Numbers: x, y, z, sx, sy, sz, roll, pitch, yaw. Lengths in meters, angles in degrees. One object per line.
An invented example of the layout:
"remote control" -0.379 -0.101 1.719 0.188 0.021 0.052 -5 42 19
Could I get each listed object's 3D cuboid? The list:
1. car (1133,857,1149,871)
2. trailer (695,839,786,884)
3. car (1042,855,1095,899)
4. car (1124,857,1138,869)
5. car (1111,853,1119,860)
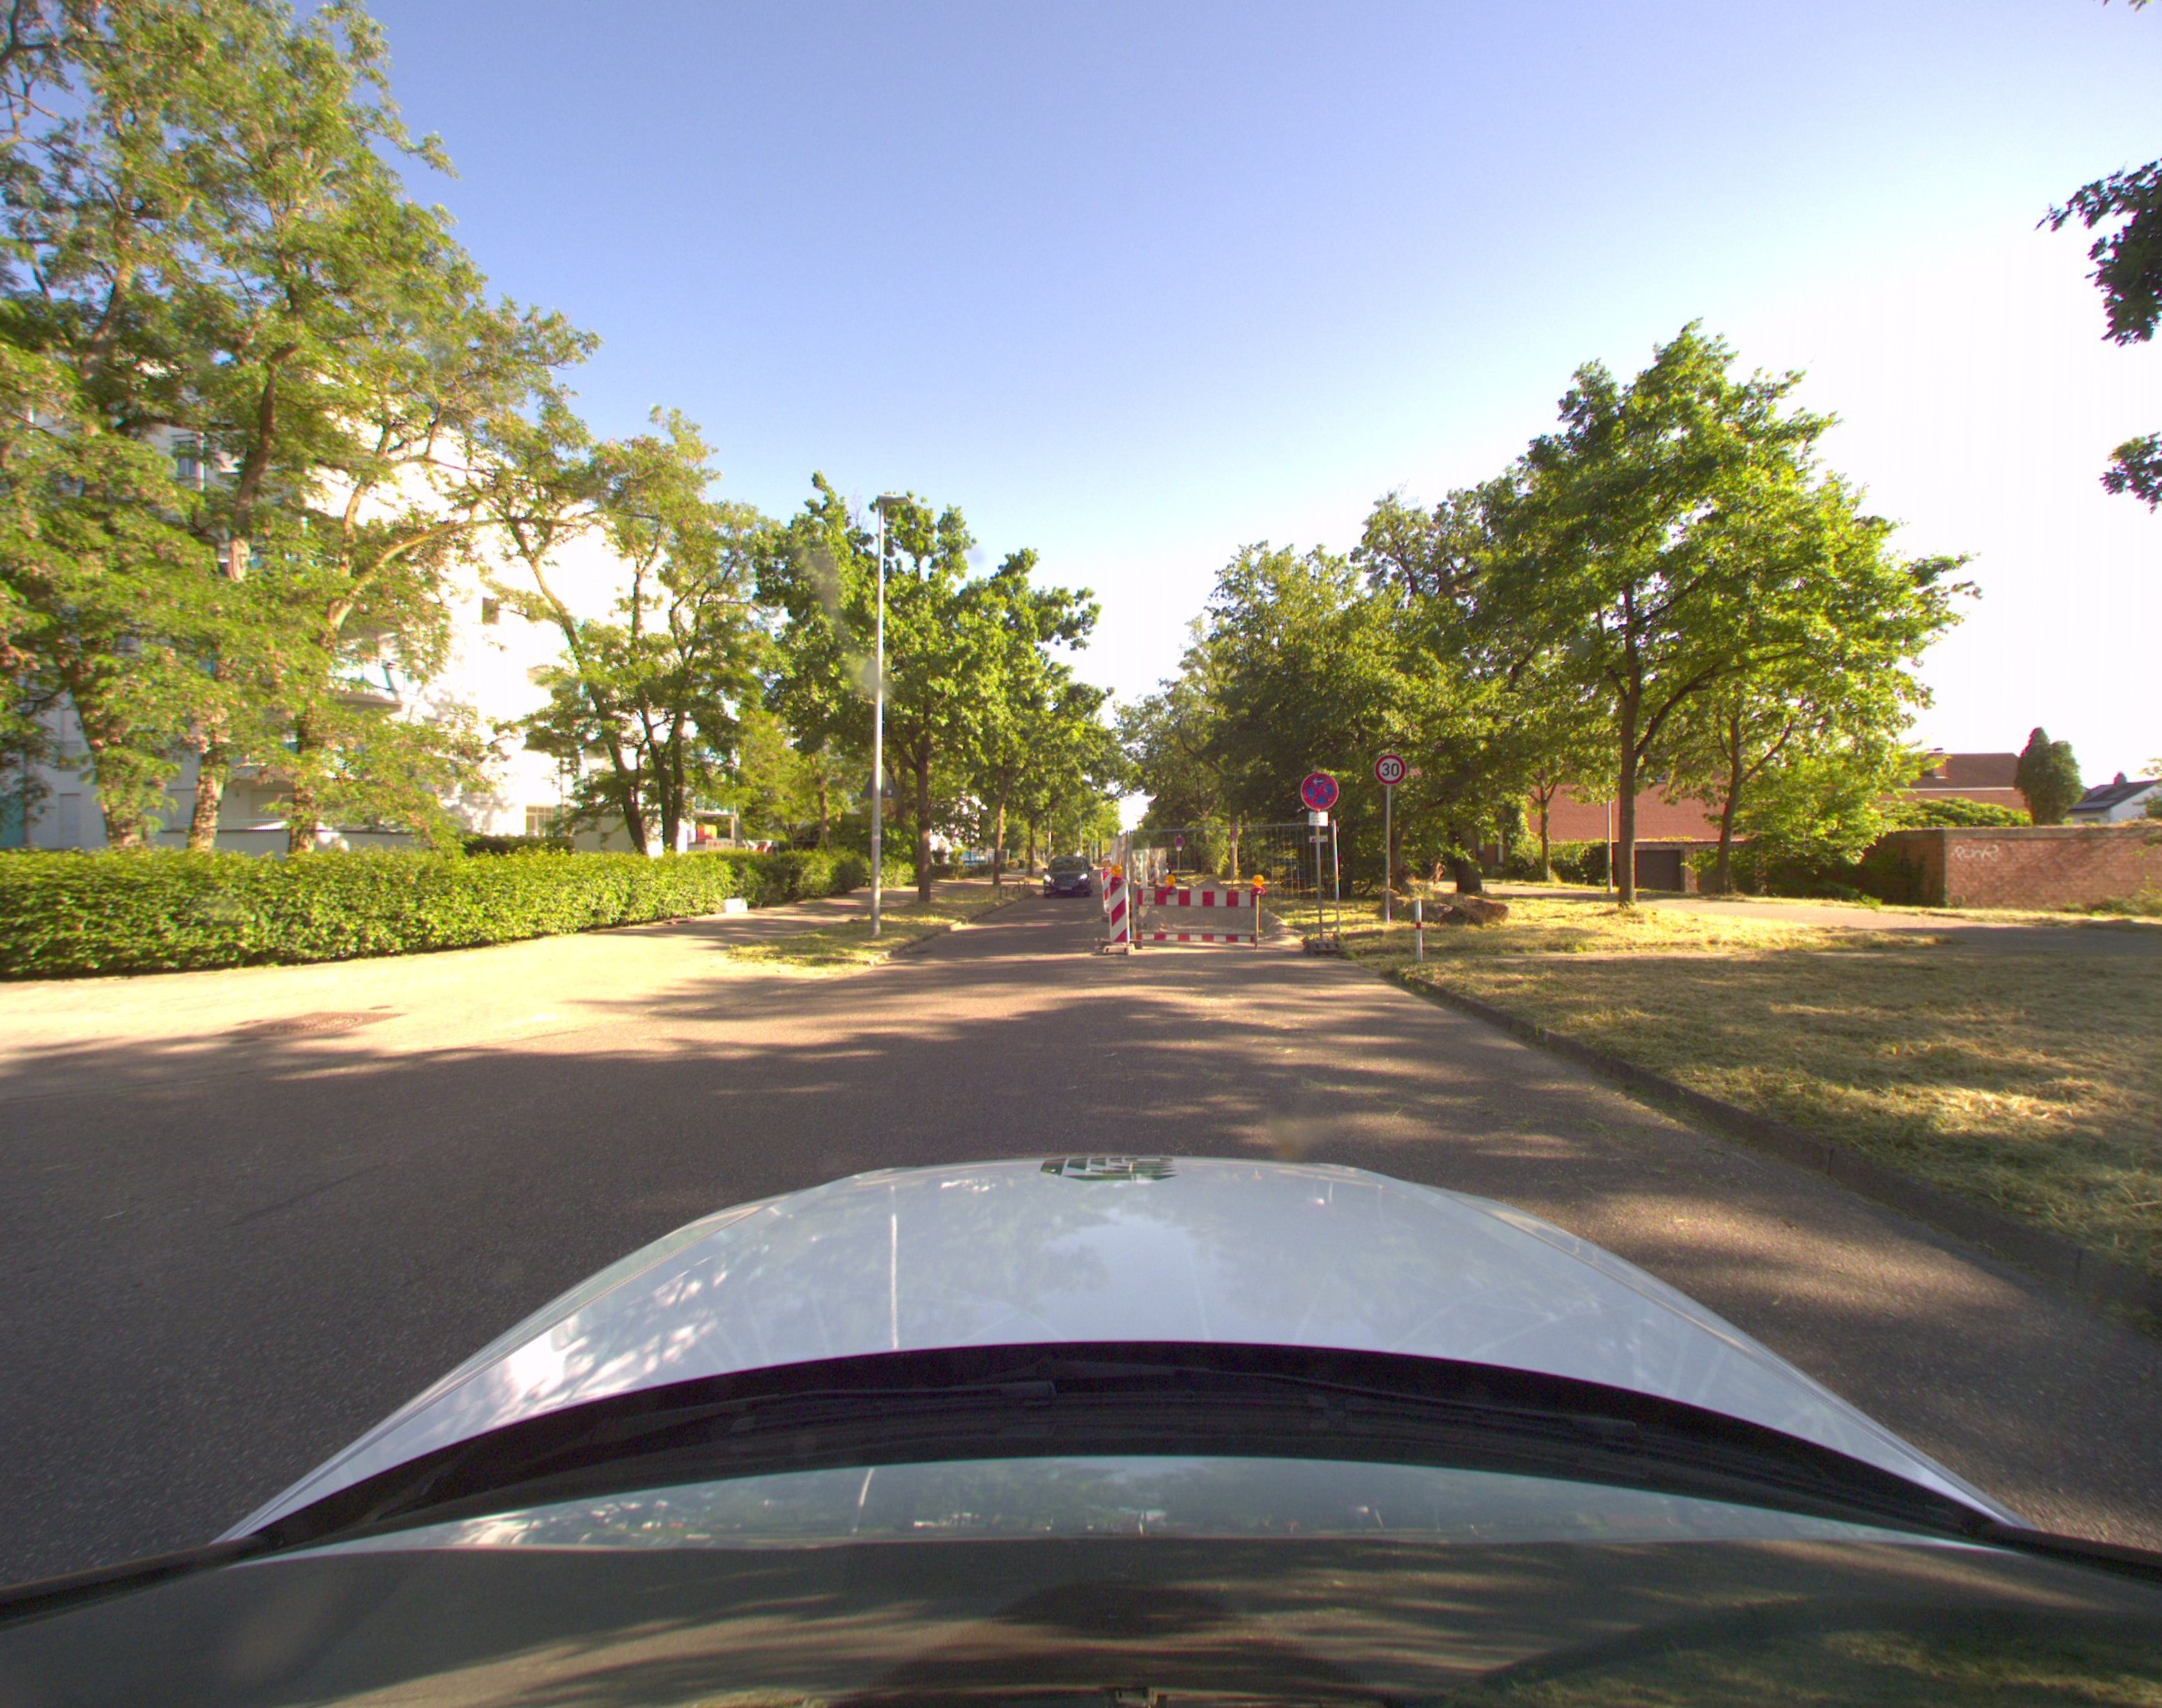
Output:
"car" 5.702 0.923 77.642 1.356 1.302 3.481 1 -1 1
"trailer" -16.374 0.342 39.419 1.964 2.042 4.442 0 0 10
"car" -0.455 0.885 33.834 1.814 1.625 4.496 -2 0 3
"car" 5.532 0.983 90.636 1.356 1.302 3.481 1 -1 1
"car" 8.288 0.573 198.765 1.705 1.585 3.998 1 -1 0
